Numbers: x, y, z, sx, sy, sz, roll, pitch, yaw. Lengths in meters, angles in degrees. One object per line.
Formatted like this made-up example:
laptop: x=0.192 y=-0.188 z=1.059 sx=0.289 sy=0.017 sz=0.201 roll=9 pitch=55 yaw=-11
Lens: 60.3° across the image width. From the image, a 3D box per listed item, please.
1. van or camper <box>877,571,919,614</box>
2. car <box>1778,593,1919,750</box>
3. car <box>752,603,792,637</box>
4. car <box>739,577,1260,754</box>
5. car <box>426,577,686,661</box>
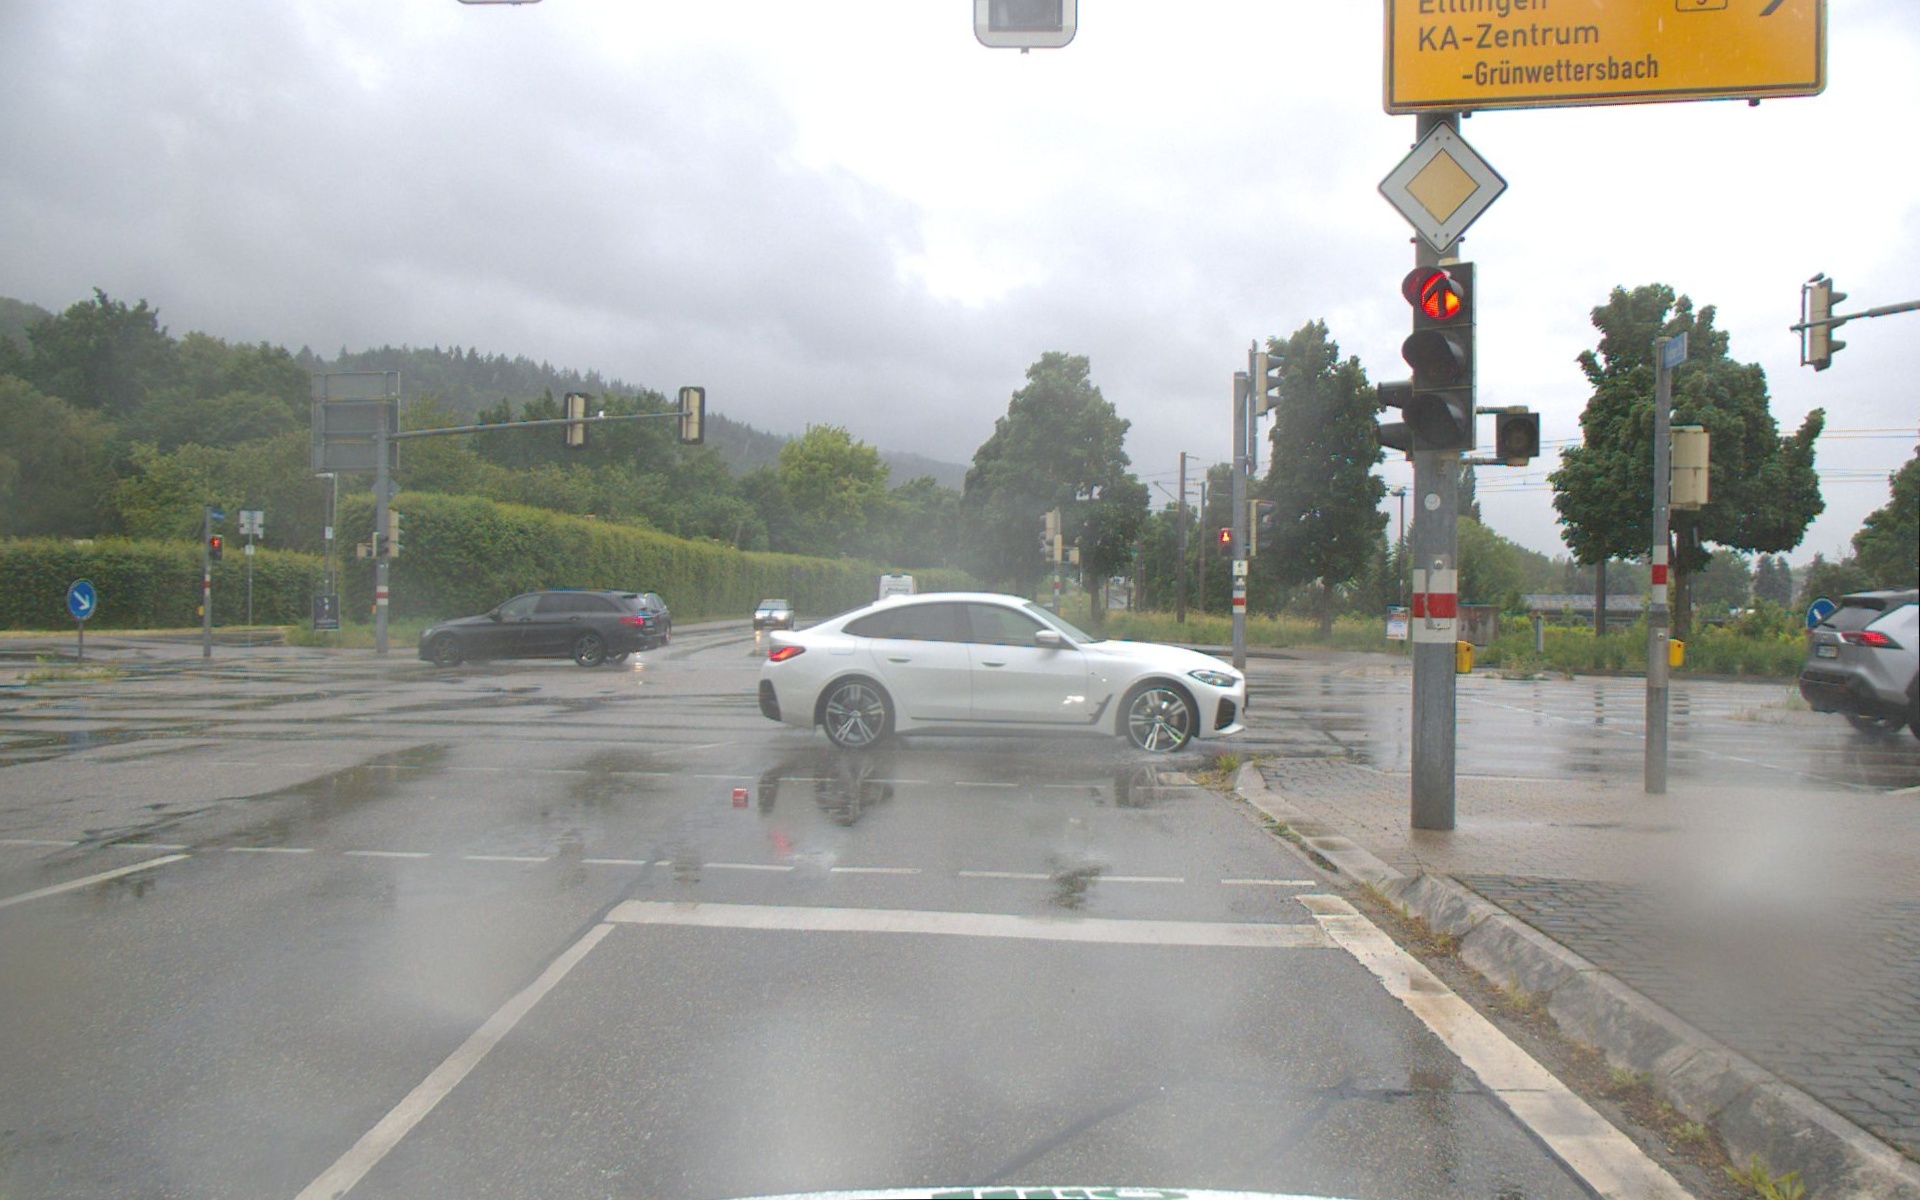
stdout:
van or camper: x=-3.344 y=-0.427 z=89.526 sx=2.109 sy=2.207 sz=4.864 roll=1 pitch=1 yaw=-1
car: x=11.649 y=0.792 z=18.084 sx=4.431 sy=1.607 sz=1.914 roll=2 pitch=1 yaw=5
car: x=-8.865 y=0.911 z=78.105 sx=1.526 sy=1.507 sz=3.360 roll=1 pitch=1 yaw=-1
car: x=0.427 y=0.571 z=16.012 sx=4.778 sy=1.580 sz=1.801 roll=0 pitch=0 yaw=7
car: x=-7.796 y=0.352 z=32.198 sx=4.572 sy=1.580 sz=1.823 roll=0 pitch=0 yaw=2
